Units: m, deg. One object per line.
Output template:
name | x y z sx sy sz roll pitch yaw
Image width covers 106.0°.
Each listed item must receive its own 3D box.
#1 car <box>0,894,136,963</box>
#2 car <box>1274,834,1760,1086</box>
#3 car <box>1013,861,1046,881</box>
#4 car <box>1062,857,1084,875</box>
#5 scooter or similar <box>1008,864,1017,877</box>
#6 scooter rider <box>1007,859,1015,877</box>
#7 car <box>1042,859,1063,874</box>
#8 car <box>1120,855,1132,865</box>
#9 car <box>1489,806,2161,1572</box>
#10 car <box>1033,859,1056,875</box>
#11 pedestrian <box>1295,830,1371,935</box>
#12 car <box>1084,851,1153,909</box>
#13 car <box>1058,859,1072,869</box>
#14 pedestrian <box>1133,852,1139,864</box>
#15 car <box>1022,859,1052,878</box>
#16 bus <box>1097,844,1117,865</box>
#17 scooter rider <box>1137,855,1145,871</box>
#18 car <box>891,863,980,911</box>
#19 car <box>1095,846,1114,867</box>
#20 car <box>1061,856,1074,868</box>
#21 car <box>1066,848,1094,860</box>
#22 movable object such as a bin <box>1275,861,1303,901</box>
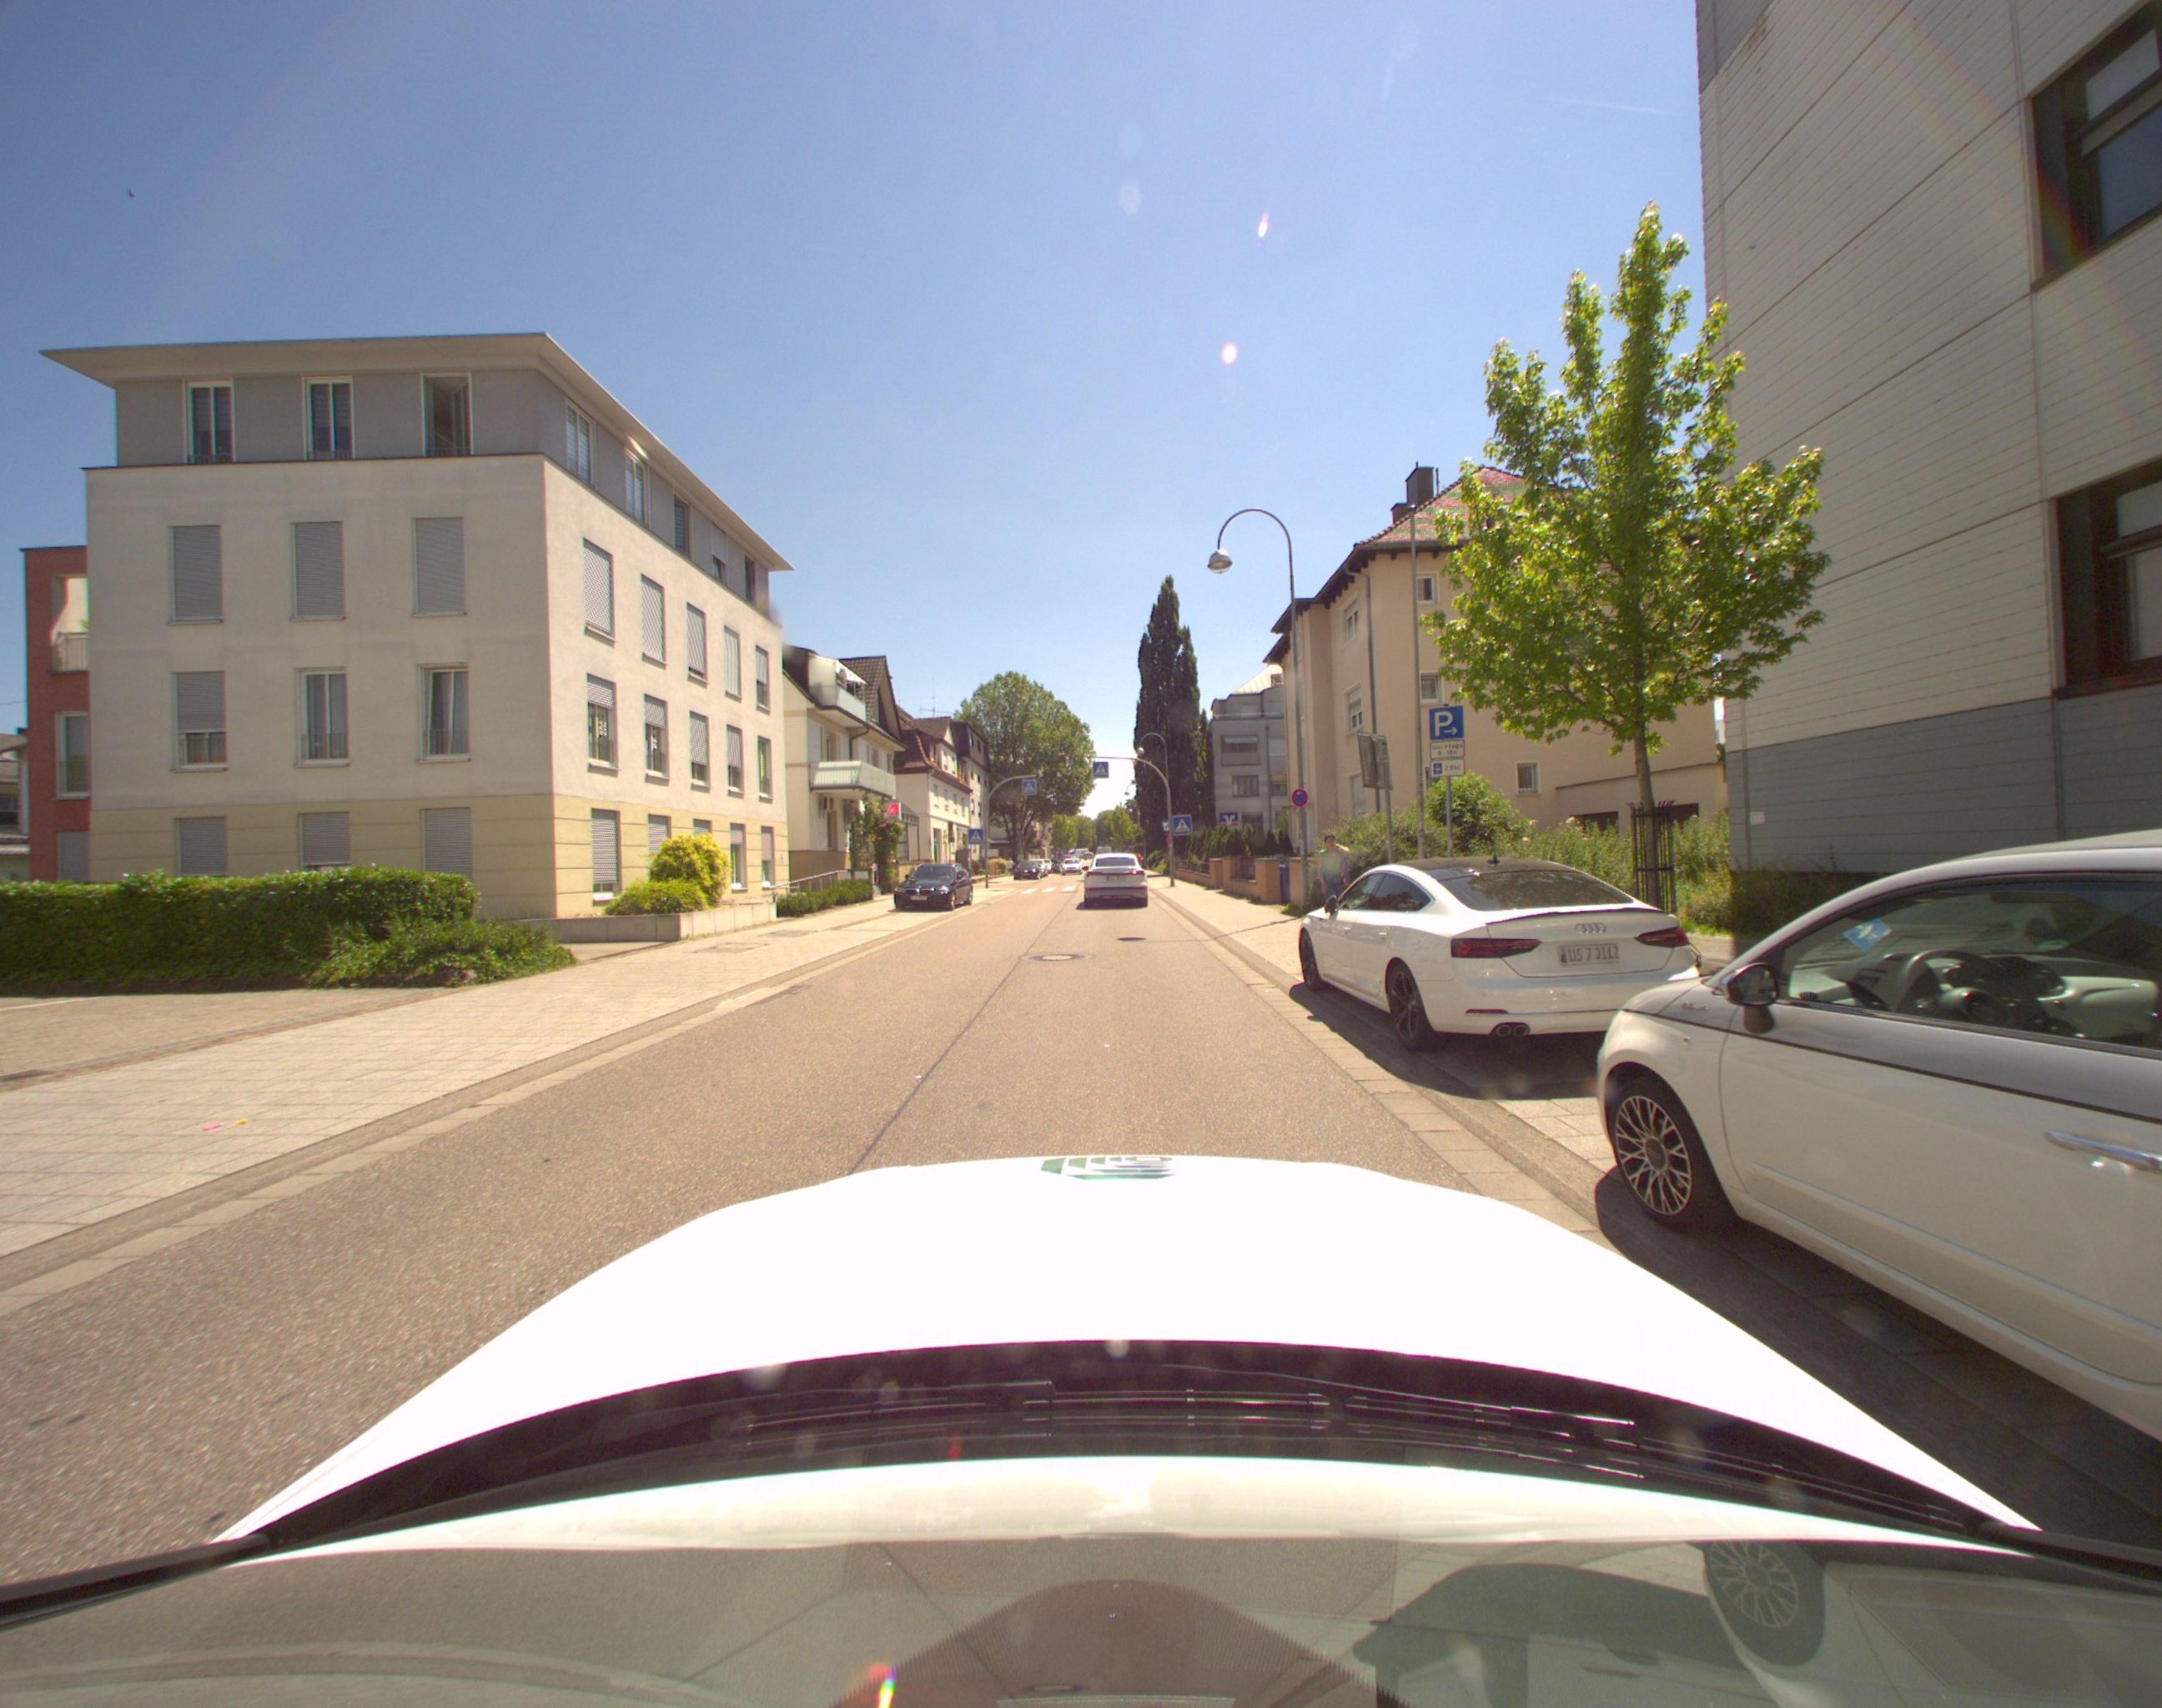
car | -27.957 1.934 21.390 3.706 1.628 1.996 0 -1 -6
car | 3.309 0.674 7.542 1.909 1.469 4.881 -3 0 1
car | -3.827 1.227 61.456 1.935 1.373 5.100 -2 0 2
car | -0.714 1.046 72.185 1.802 1.482 3.868 -4 0 0
scooter or similar | -6.013 1.433 71.219 0.660 1.098 1.029 0 0 3
scooter rider | -6.046 1.203 70.521 0.586 1.575 0.878 0 0 3
car | -2.940 1.240 85.140 1.974 1.452 5.151 -1 0 1
car | 7.032 0.954 127.250 1.888 1.438 4.548 -2 0 3
car | 2.973 0.626 2.337 1.704 1.498 3.879 -3 0 2
car | -3.502 1.198 79.252 1.974 1.452 4.868 -1 0 1
pedestrian | 4.314 0.482 14.009 0.680 1.700 1.045 -4 -1 -15
car | 1.097 0.760 25.529 1.987 1.633 4.000 -1 0 0
car | -2.302 1.422 120.218 1.889 1.417 5.048 0 0 1
pedestrian | 7.751 0.620 114.229 0.698 1.626 0.783 -5 -1 0
car | -3.621 1.189 67.525 1.973 1.452 5.360 -1 0 2
bus | 4.061 0.107 125.861 2.649 3.221 7.309 0 -1 4
scooter rider | 6.368 0.949 86.252 0.714 1.548 0.770 -3 0 -1
car | -4.802 1.040 27.722 1.909 1.452 5.151 0 0 2
car | 2.796 0.341 96.131 2.148 2.442 5.285 0 -1 2
car | -2.082 1.220 126.694 1.746 1.702 4.102 0 0 1
car | -0.167 -0.069 214.251 7.129 2.630 2.023 -4 0 -30
movable object such as a bin | 5.972 0.776 23.399 0.622 1.099 0.633 -3 -1 4
